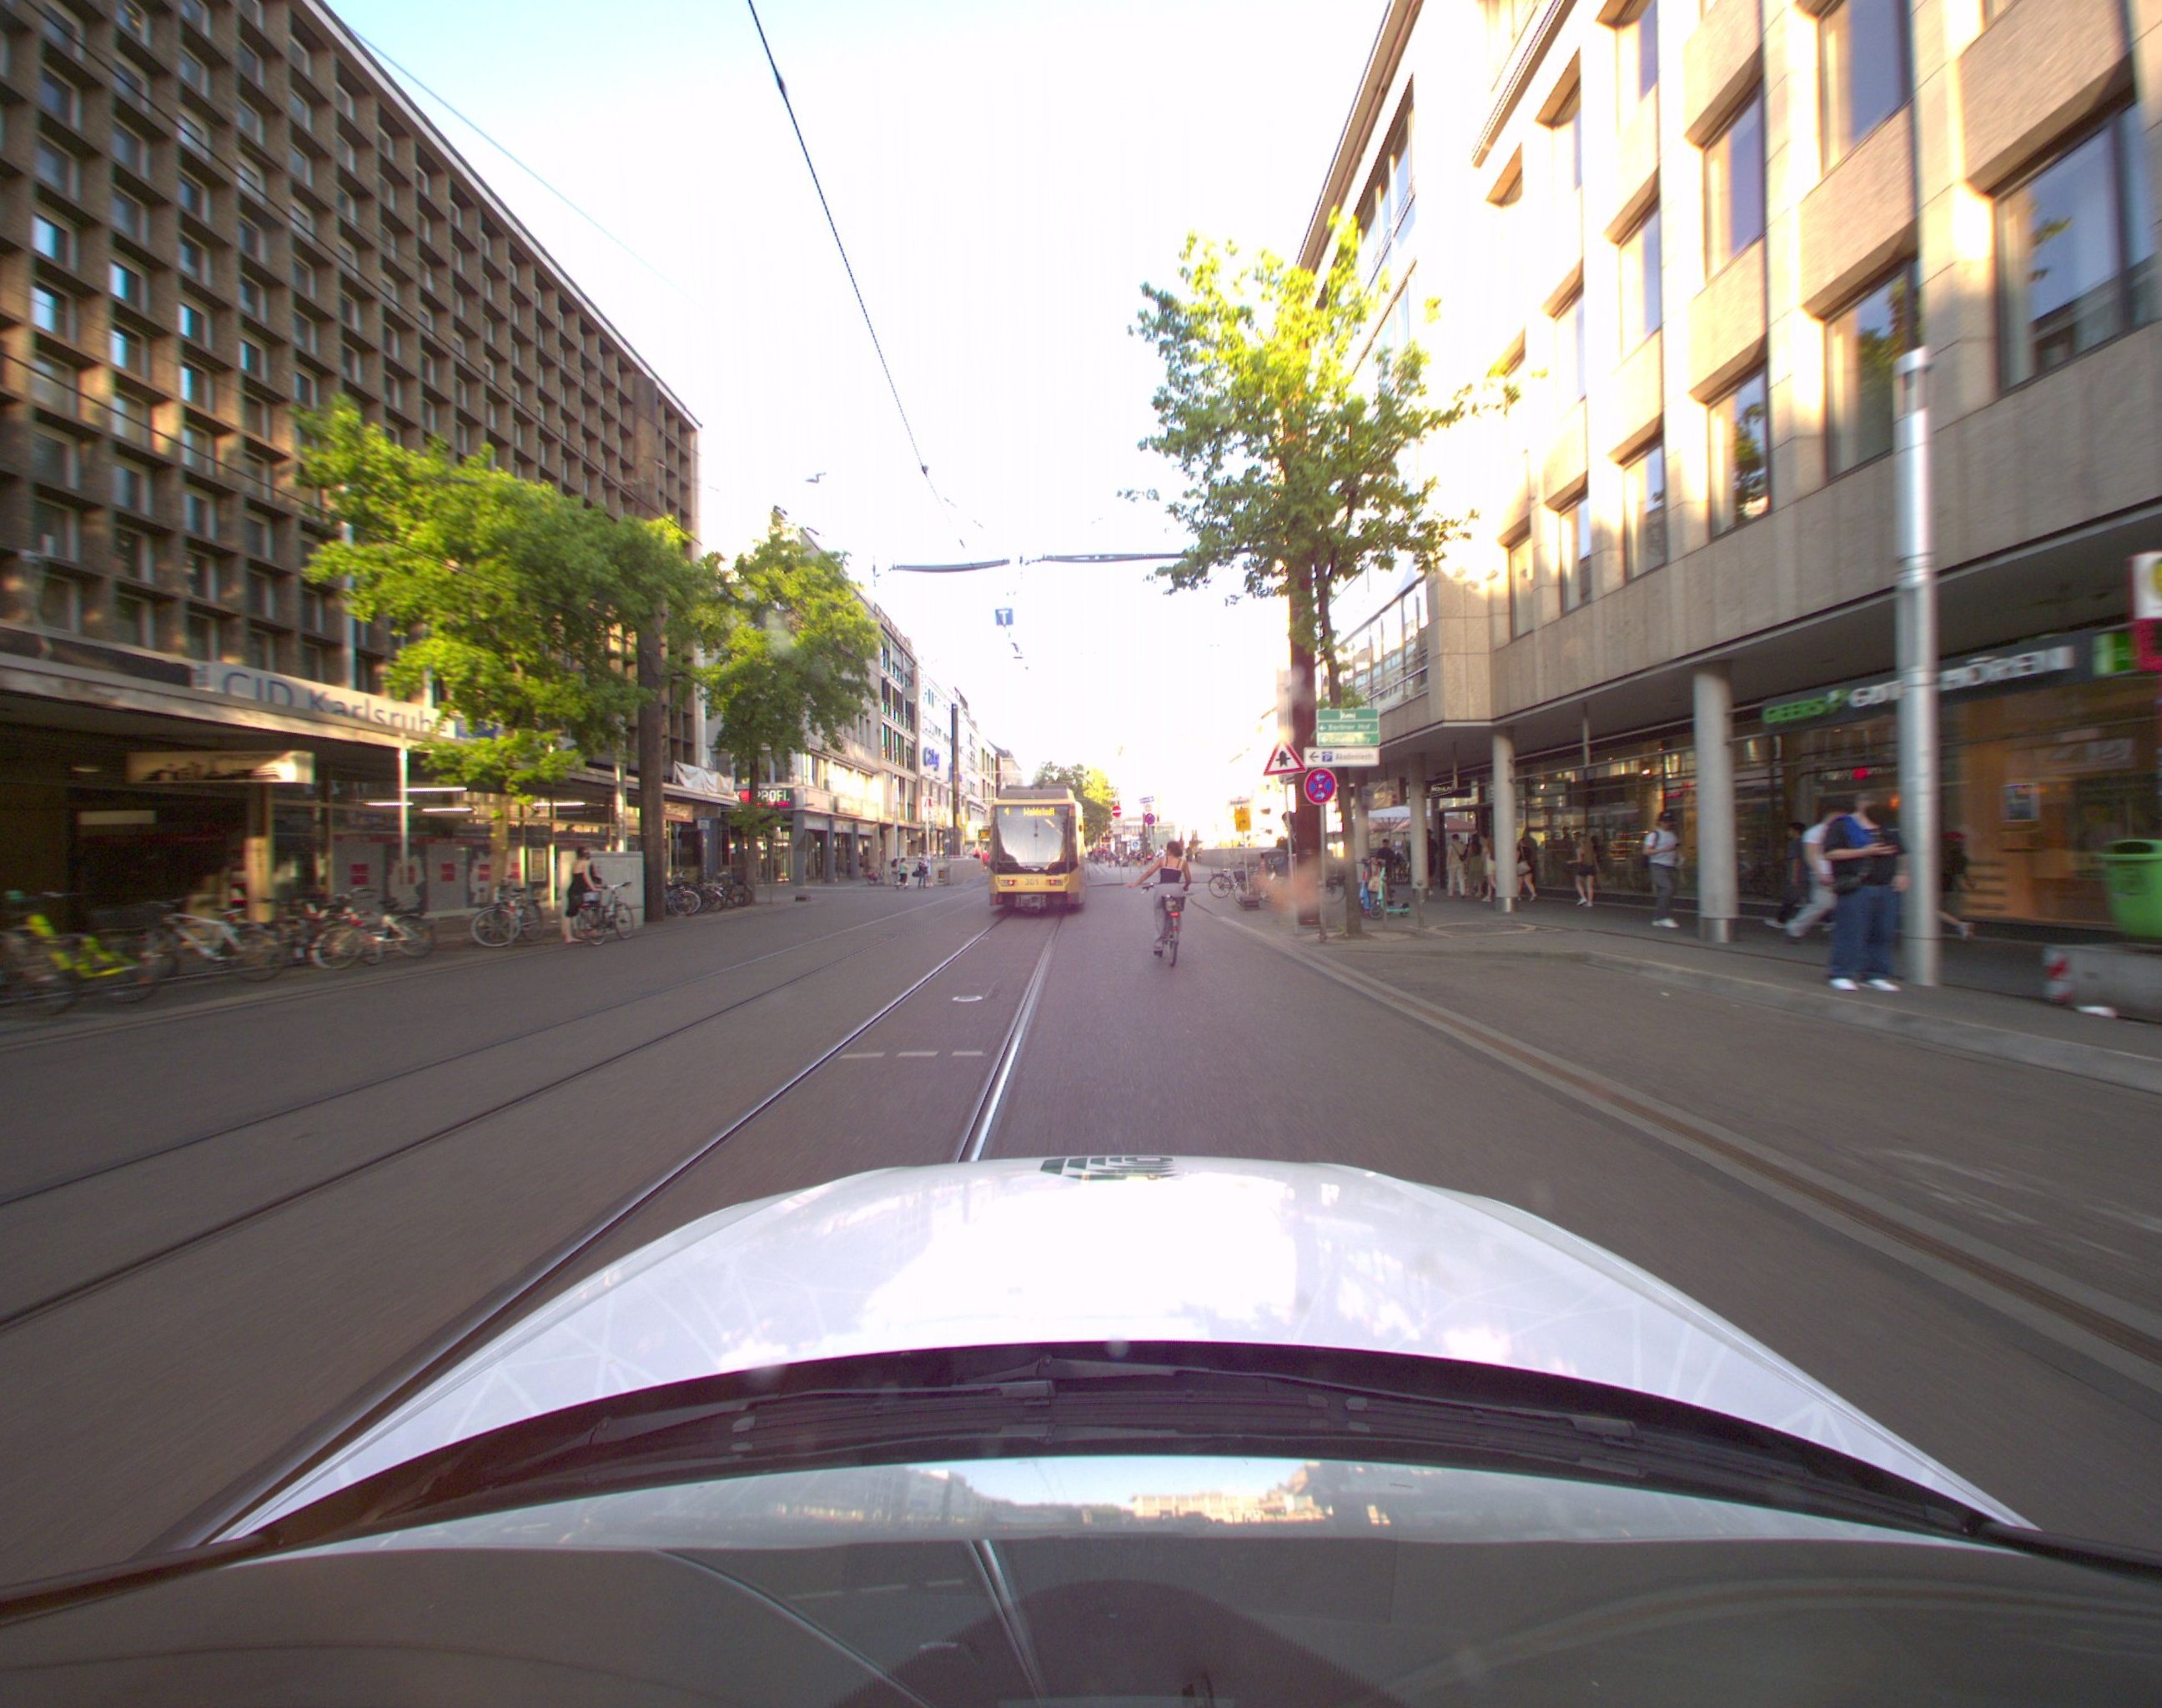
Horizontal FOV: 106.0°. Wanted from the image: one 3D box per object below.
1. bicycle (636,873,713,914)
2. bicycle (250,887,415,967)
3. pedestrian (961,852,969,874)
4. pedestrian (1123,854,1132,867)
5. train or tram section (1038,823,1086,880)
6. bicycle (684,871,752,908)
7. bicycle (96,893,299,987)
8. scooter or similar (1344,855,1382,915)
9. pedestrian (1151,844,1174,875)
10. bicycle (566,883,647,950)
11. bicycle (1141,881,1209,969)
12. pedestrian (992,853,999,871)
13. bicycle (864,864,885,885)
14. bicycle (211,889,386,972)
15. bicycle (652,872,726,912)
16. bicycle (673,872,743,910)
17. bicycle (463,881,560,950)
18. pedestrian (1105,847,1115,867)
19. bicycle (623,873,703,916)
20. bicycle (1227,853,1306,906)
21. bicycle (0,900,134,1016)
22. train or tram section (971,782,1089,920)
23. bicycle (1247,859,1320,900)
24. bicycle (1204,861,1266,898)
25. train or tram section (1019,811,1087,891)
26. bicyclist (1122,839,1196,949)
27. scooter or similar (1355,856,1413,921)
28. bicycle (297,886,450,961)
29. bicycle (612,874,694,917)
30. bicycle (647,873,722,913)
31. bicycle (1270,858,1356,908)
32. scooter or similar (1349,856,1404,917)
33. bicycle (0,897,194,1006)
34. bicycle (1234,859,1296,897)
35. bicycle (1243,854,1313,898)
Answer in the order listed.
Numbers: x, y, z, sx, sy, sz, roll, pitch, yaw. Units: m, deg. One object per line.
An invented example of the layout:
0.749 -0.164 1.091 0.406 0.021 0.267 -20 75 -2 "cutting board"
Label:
-10.640 1.032 21.353 1.766 1.045 0.489 0 0 0 "bicycle"
-10.631 1.032 11.599 1.769 1.071 0.488 1 0 -6 "bicycle"
-8.829 0.690 62.053 0.603 1.588 0.626 -1 -1 -9 "pedestrian"
4.507 0.618 79.238 0.790 1.221 0.768 -1 0 -3 "pedestrian"
-1.107 -0.176 56.044 2.791 3.319 14.506 -1 0 0 "train or tram section"
-10.599 1.046 23.816 1.766 1.045 0.489 0 0 0 "bicycle"
-10.627 1.021 9.835 1.769 1.071 0.488 1 0 -6 "bicycle"
6.354 0.678 18.335 0.388 1.251 1.199 -2 1 38 "scooter or similar"
4.918 0.349 49.156 1.016 1.863 1.036 0 -1 -19 "pedestrian"
-8.538 1.098 14.731 0.487 1.045 1.776 0 0 -2 "bicycle"
1.311 0.961 11.705 0.812 1.073 2.114 0 0 2 "bicycle"
-7.551 0.701 71.753 0.511 1.617 0.504 -1 -1 -9 "pedestrian"
-11.397 1.123 45.027 0.496 1.107 1.803 -1 1 6 "bicycle"
-10.582 1.028 11.055 1.769 1.071 0.488 1 0 -6 "bicycle"
-10.652 1.037 22.174 1.766 1.045 0.489 0 0 0 "bicycle"
-10.641 1.043 23.235 1.766 1.045 0.489 0 0 0 "bicycle"
-9.894 1.043 14.217 0.487 1.045 1.776 0 0 -2 "bicycle"
2.731 0.305 76.263 0.734 1.823 0.816 -1 0 -14 "pedestrian"
-10.648 1.029 20.782 1.766 1.045 0.489 0 0 0 "bicycle"
5.061 0.686 22.306 1.912 1.333 0.724 -3 0 -5 "bicycle"
-10.575 1.010 8.016 1.769 1.071 0.488 1 0 -6 "bicycle"
-1.211 -0.098 27.085 2.791 3.319 14.506 -1 0 0 "train or tram section"
6.031 0.751 24.299 1.912 1.077 0.762 -3 0 -5 "bicycle"
4.972 0.824 26.401 1.848 1.109 0.666 -3 0 -3 "bicycle"
-1.156 -0.136 41.568 2.791 3.319 14.506 -1 0 0 "train or tram section"
1.102 0.552 11.678 0.993 1.502 0.857 0 0 1 "bicyclist"
6.304 0.700 16.920 1.119 1.251 0.492 -3 0 -30 "scooter or similar"
-10.615 1.035 12.252 1.769 1.071 0.488 1 0 -6 "bicycle"
-10.657 1.026 20.290 1.766 1.045 0.489 0 0 0 "bicycle"
-10.657 1.036 21.932 1.766 1.045 0.489 0 0 0 "bicycle"
6.046 0.743 21.311 1.992 1.155 0.724 -3 0 -5 "bicycle"
6.409 0.685 17.638 1.195 1.251 0.389 -3 0 -29 "scooter or similar"
-10.590 1.014 8.594 1.769 1.071 0.488 1 0 -6 "bicycle"
5.992 0.772 26.567 1.848 1.109 0.666 -3 0 -3 "bicycle"
6.039 0.669 25.046 1.912 1.222 0.762 -3 0 -5 "bicycle"
